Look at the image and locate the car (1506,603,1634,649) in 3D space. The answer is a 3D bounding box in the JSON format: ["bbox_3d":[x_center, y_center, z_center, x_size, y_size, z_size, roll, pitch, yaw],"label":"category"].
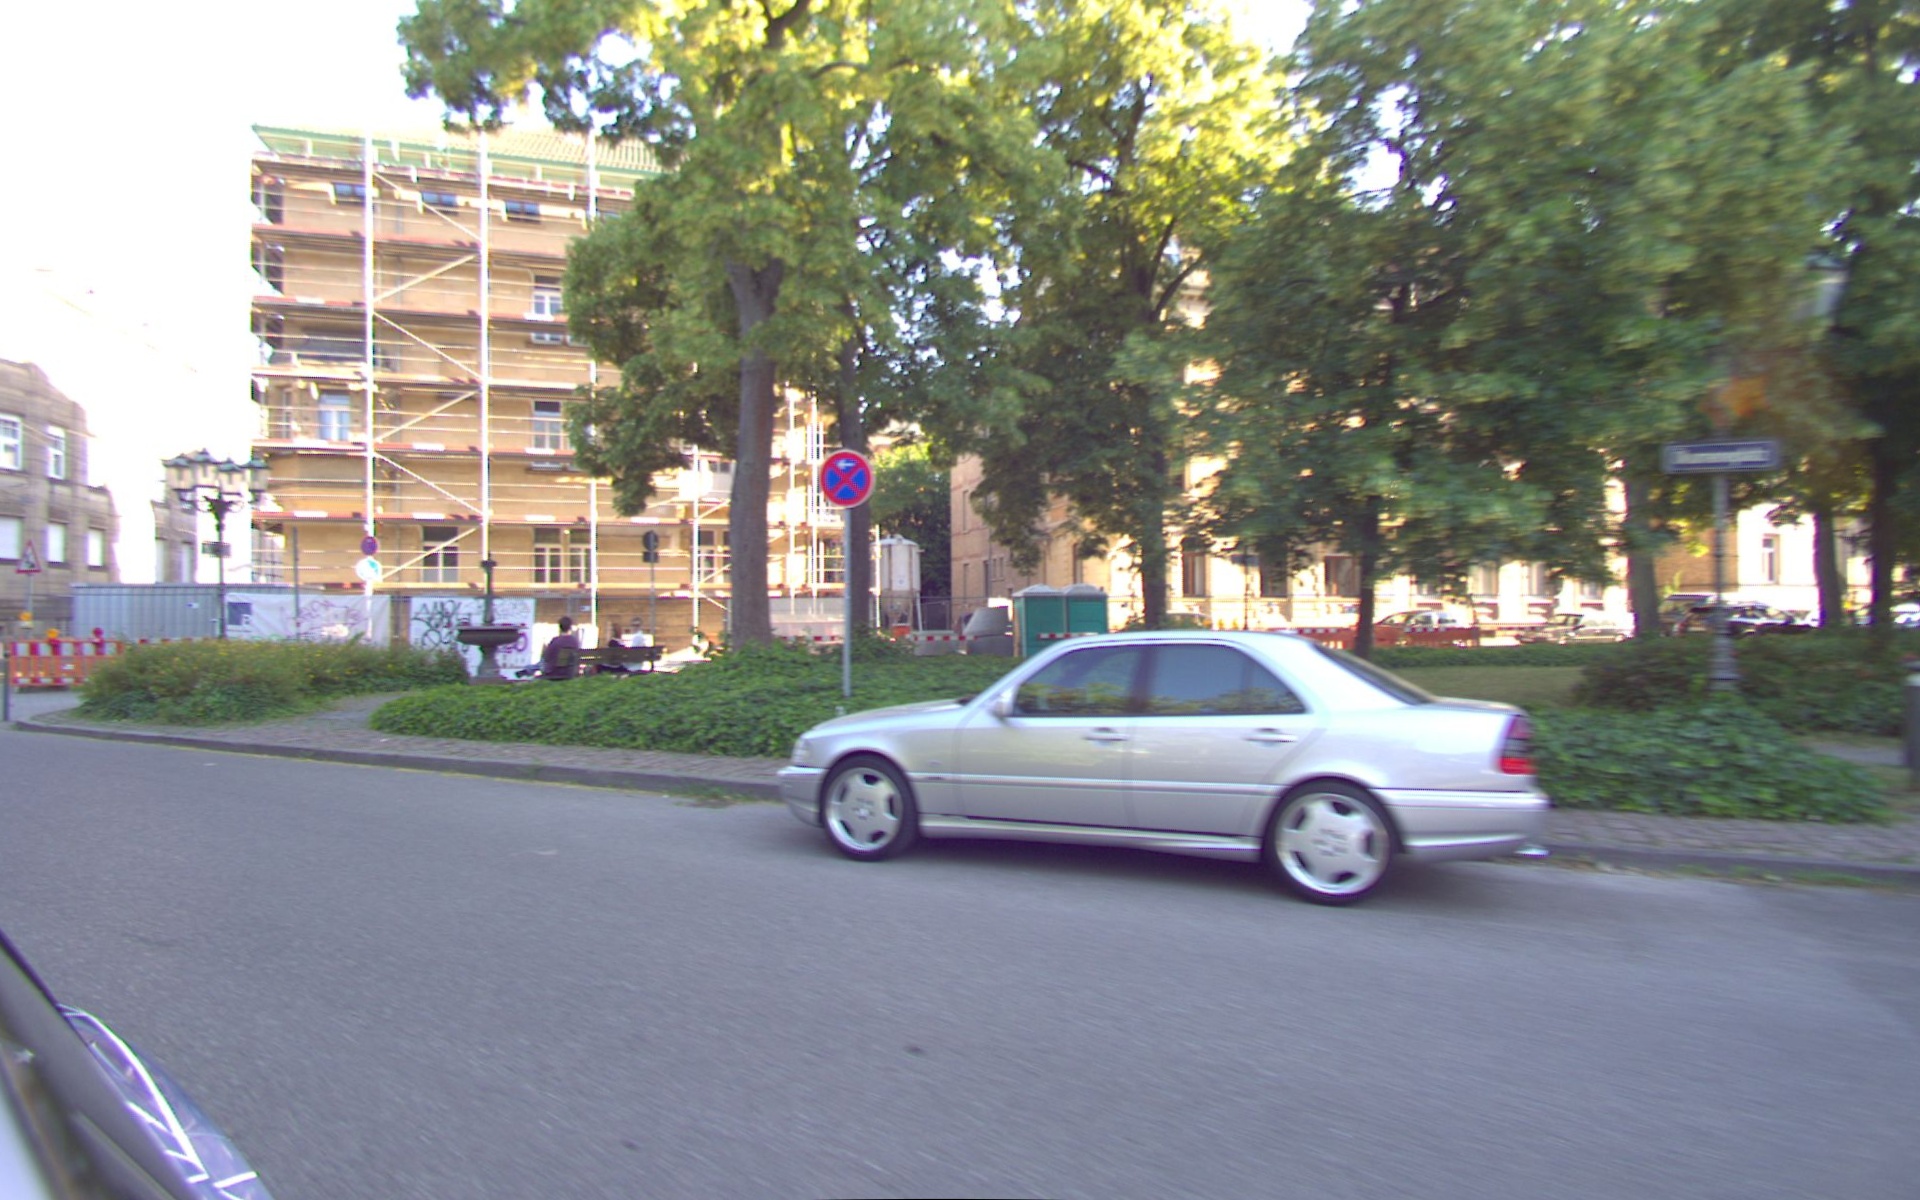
[{"bbox_3d":[23.807,0.994,39.524,4.148,1.668,2.006,0,-1,-17],"label":"car"}]

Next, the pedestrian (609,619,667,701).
[{"bbox_3d":[-5.003,0.917,15.726,0.723,1.242,0.546,-2,-2,36],"label":"pedestrian"}]

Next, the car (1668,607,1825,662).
[{"bbox_3d":[25.033,1.081,32.248,4.148,1.668,1.897,0,-1,-18],"label":"car"}]

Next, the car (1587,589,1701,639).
[{"bbox_3d":[32.463,0.690,48.181,1.859,2.279,4.233,0,-1,-18],"label":"car"}]

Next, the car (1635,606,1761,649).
[{"bbox_3d":[29.917,1.086,41.058,4.148,1.668,2.006,0,-1,-17],"label":"car"}]

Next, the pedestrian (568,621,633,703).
[{"bbox_3d":[-5.445,0.921,15.323,0.882,1.204,0.546,-2,-2,36],"label":"pedestrian"}]

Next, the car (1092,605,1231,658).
[{"bbox_3d":[6.766,1.035,34.076,4.148,1.668,1.918,0,-1,-17],"label":"car"}]

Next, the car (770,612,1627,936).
[{"bbox_3d":[1.216,0.850,6.194,4.469,1.426,1.771,-1,-3,23],"label":"car"}]

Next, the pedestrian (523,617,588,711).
[{"bbox_3d":[-5.819,0.907,14.561,0.764,1.308,0.546,-2,-2,36],"label":"pedestrian"}]
